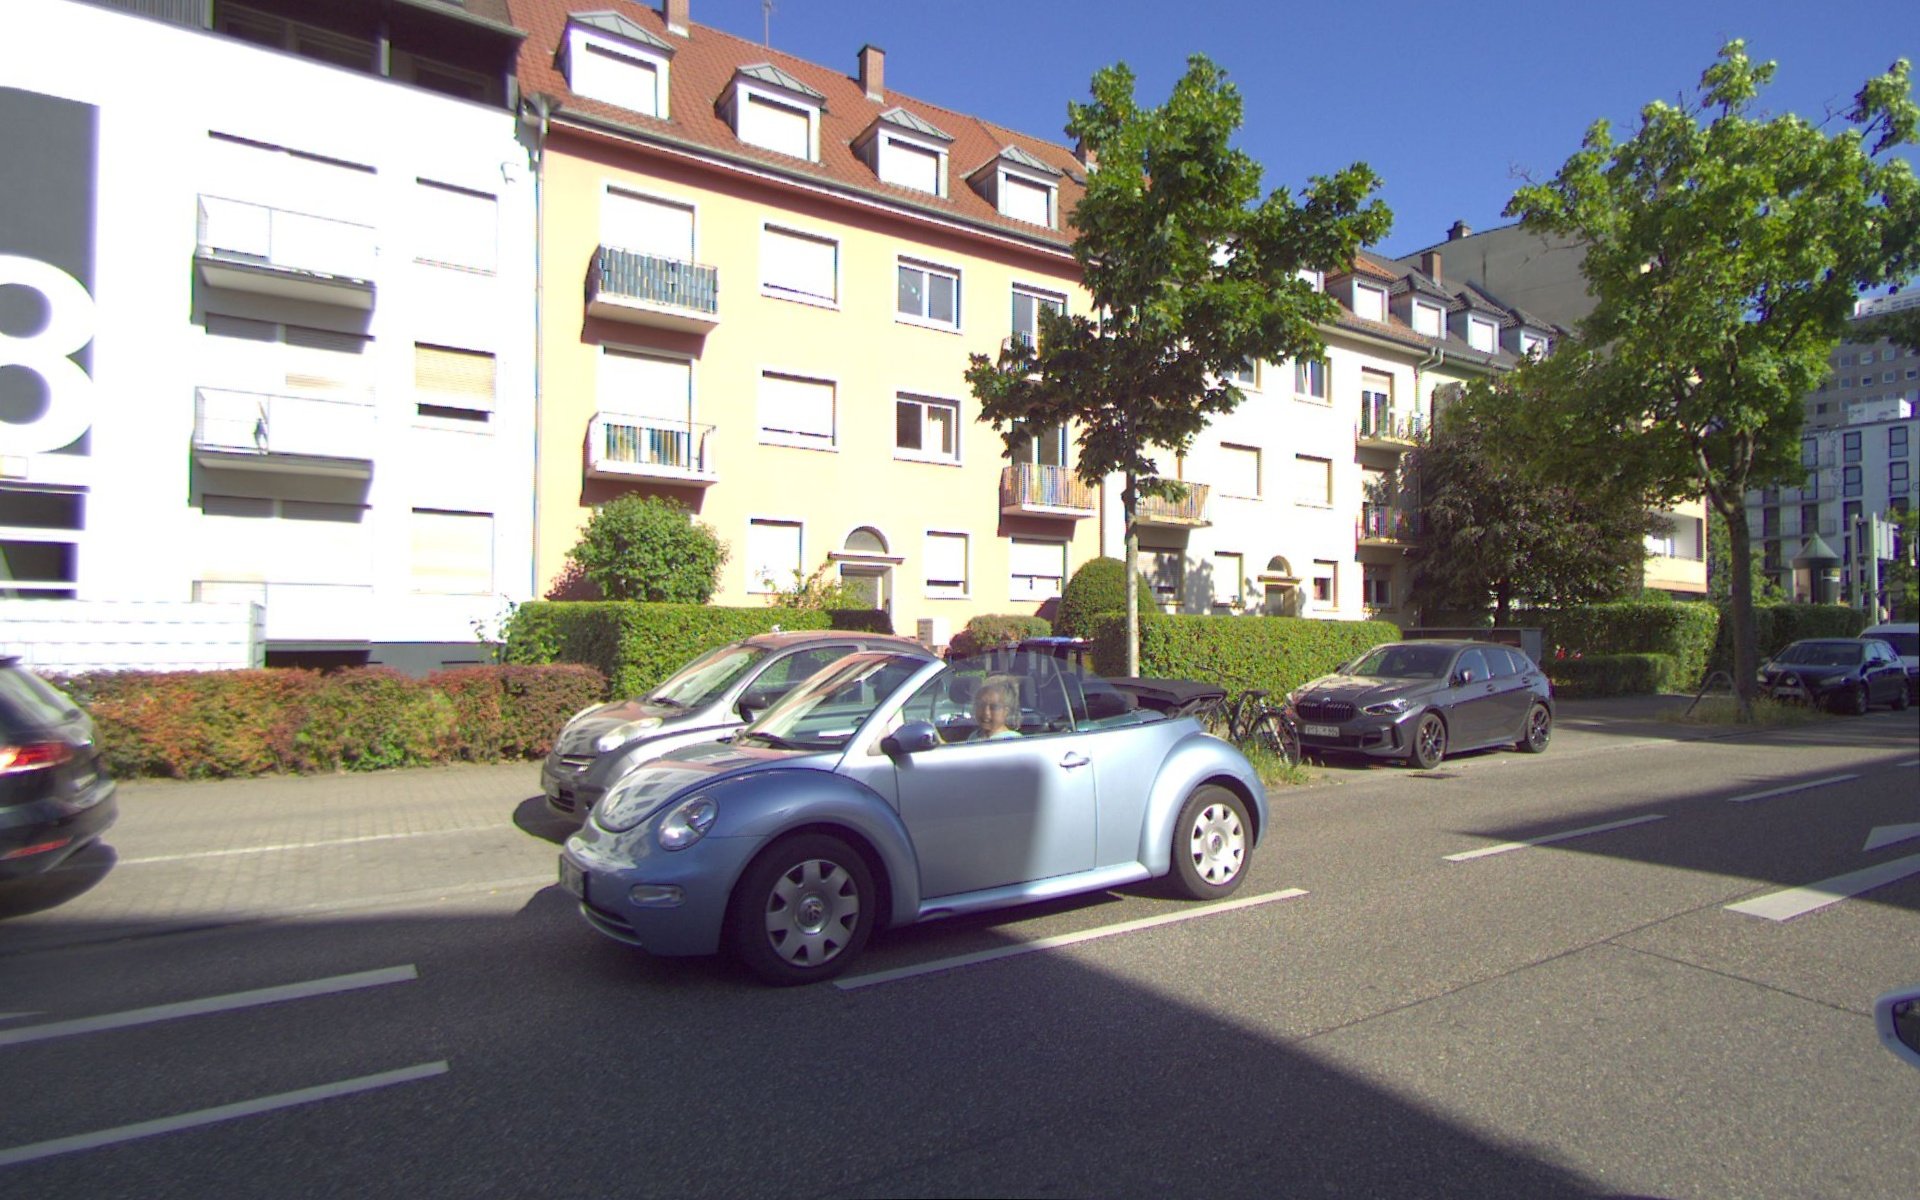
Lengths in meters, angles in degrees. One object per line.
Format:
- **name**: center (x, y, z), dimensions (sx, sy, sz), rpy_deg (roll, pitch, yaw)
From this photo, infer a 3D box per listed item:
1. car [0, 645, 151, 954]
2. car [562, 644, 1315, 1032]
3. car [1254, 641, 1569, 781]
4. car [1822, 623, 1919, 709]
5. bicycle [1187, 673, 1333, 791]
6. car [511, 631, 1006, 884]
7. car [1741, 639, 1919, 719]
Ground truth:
- **car**: center (-6.774, 1.012, 4.719), dimensions (4.446, 1.513, 1.775), rpy_deg (1, -2, -34)
- **car**: center (-0.001, 0.996, 5.620), dimensions (3.895, 1.399, 1.728), rpy_deg (1, -3, -33)
- **car**: center (5.845, 1.277, 12.814), dimensions (4.324, 1.427, 1.755), rpy_deg (1, -1, -36)
- **car**: center (22.212, 1.476, 23.632), dimensions (4.515, 1.858, 1.807), rpy_deg (1, -2, -34)
- **bicycle**: center (3.265, 1.405, 11.054), dimensions (0.542, 1.149, 1.535), rpy_deg (0, -3, -33)
- **car**: center (-1.552, 1.065, 8.209), dimensions (3.623, 1.546, 1.663), rpy_deg (1, 0, -36)
- **car**: center (18.014, 1.556, 20.734), dimensions (4.064, 1.476, 1.663), rpy_deg (1, -2, -32)
